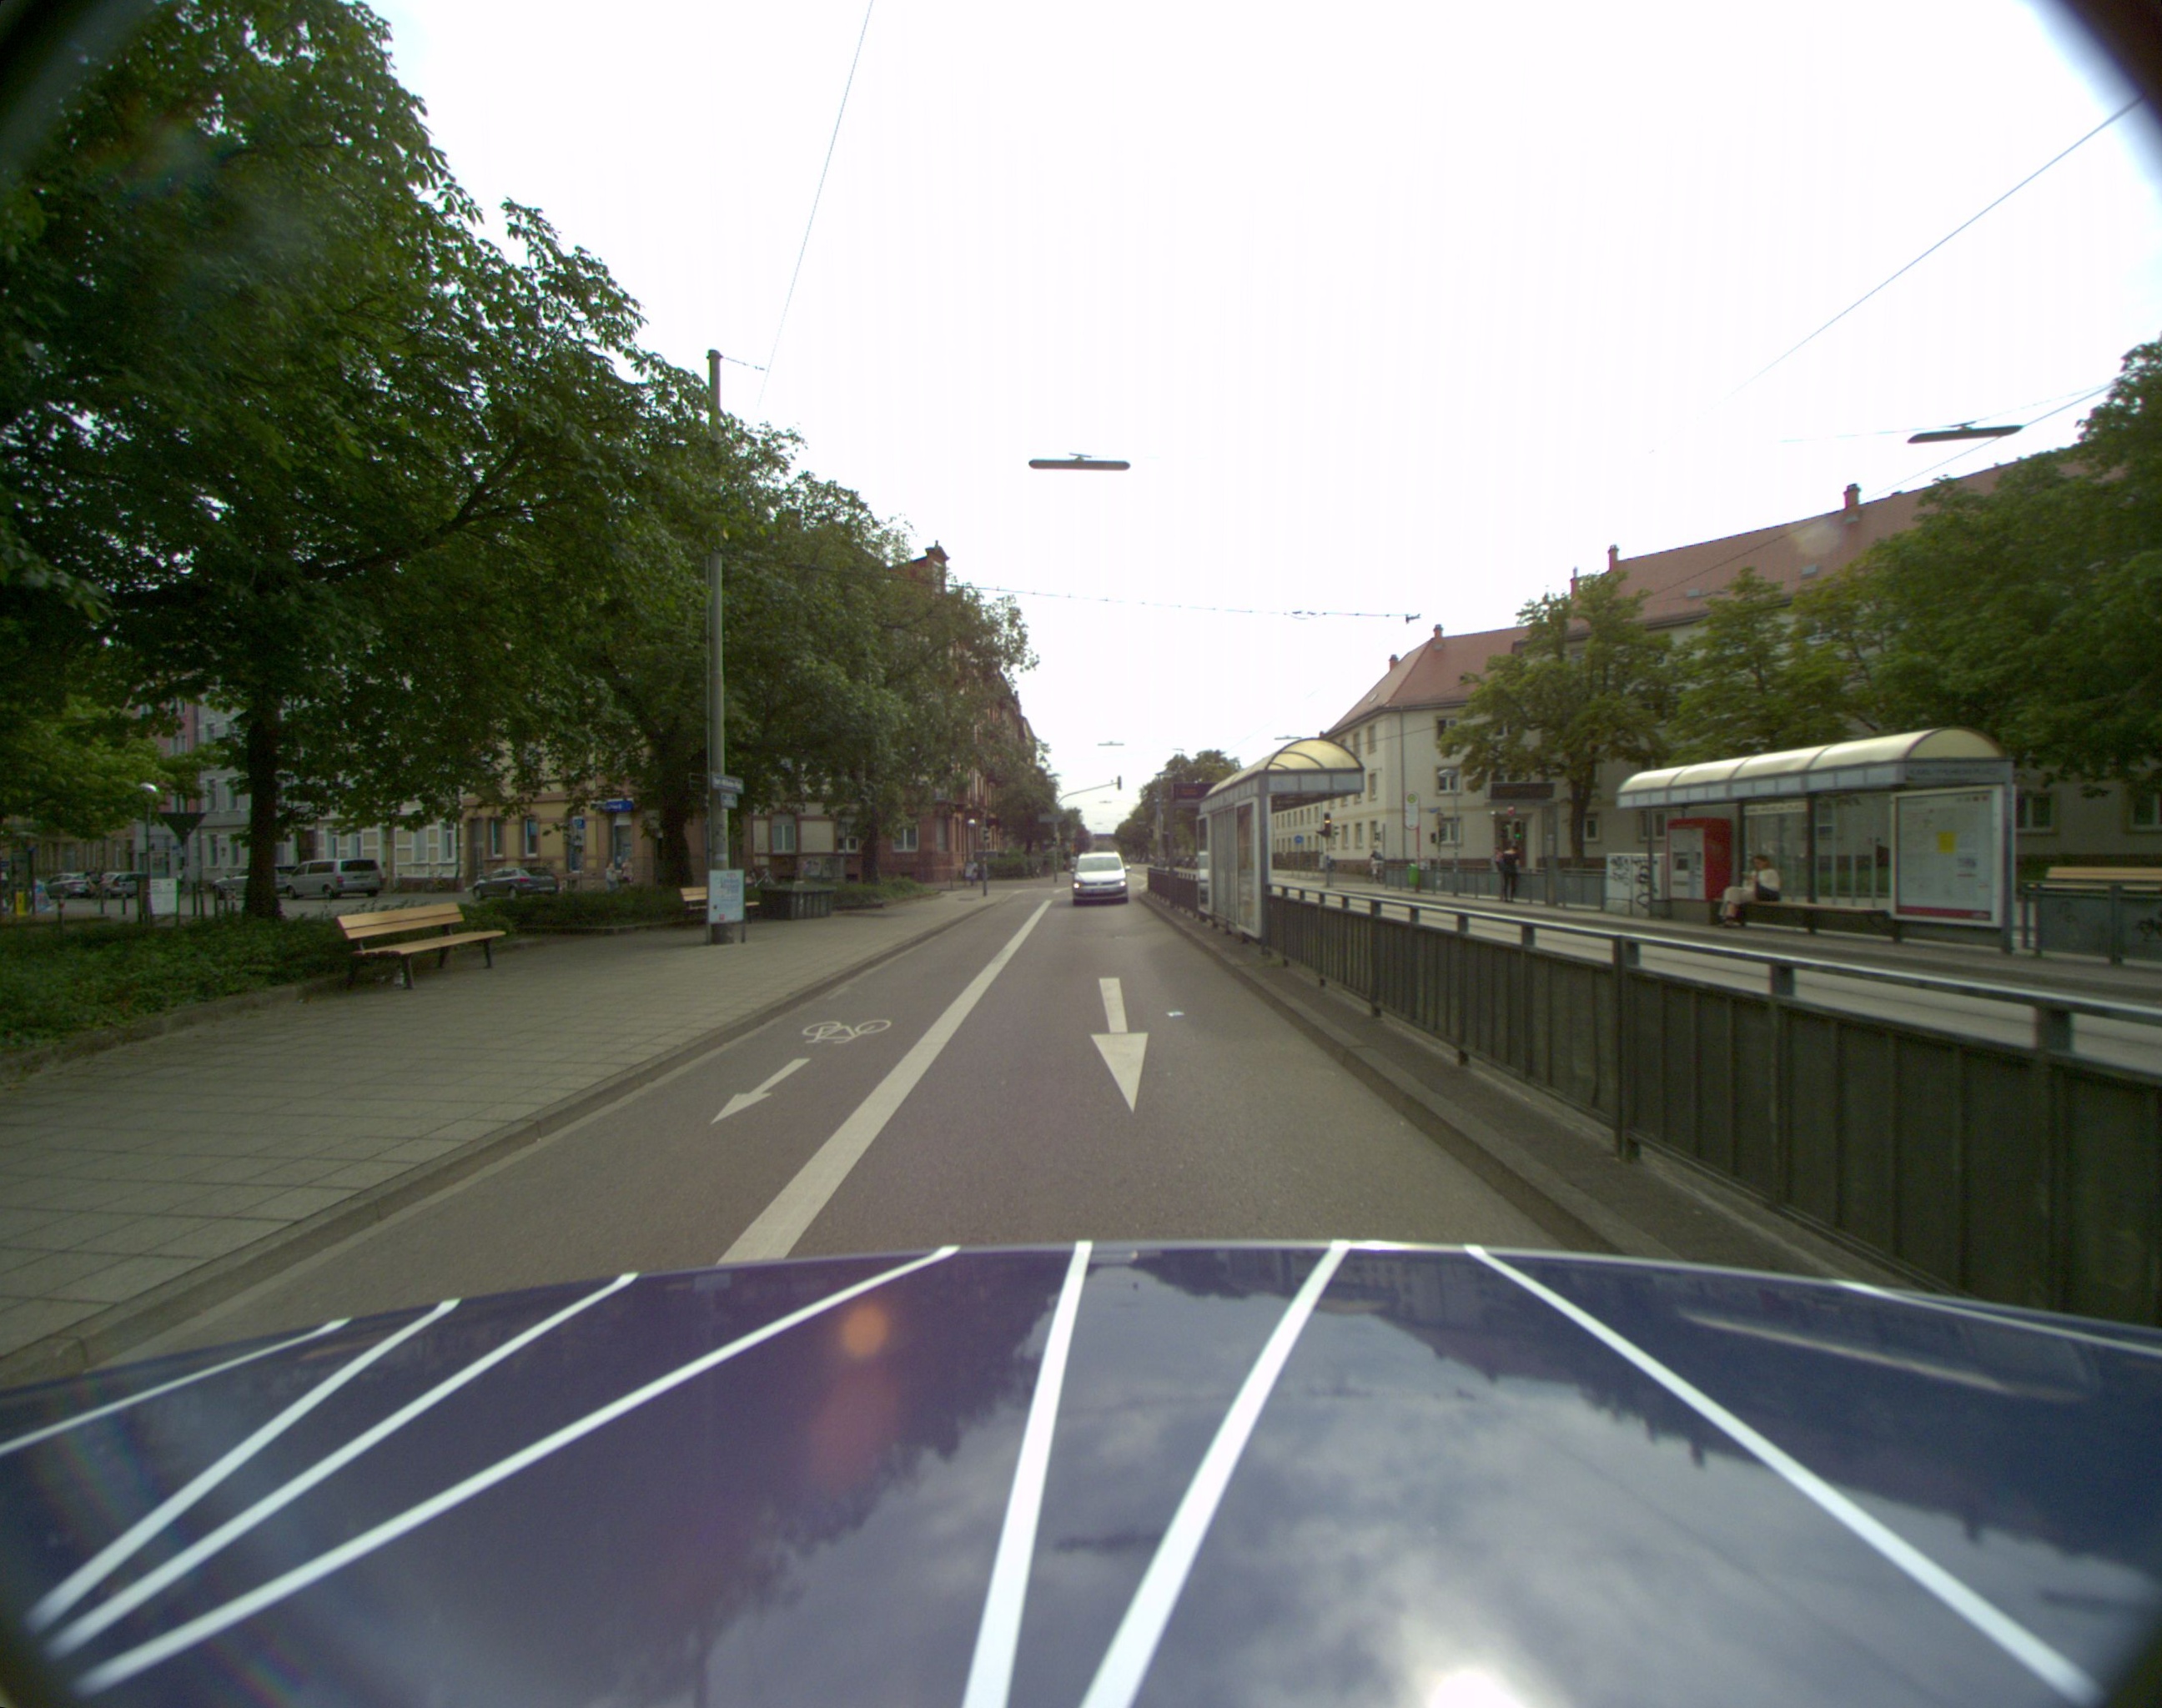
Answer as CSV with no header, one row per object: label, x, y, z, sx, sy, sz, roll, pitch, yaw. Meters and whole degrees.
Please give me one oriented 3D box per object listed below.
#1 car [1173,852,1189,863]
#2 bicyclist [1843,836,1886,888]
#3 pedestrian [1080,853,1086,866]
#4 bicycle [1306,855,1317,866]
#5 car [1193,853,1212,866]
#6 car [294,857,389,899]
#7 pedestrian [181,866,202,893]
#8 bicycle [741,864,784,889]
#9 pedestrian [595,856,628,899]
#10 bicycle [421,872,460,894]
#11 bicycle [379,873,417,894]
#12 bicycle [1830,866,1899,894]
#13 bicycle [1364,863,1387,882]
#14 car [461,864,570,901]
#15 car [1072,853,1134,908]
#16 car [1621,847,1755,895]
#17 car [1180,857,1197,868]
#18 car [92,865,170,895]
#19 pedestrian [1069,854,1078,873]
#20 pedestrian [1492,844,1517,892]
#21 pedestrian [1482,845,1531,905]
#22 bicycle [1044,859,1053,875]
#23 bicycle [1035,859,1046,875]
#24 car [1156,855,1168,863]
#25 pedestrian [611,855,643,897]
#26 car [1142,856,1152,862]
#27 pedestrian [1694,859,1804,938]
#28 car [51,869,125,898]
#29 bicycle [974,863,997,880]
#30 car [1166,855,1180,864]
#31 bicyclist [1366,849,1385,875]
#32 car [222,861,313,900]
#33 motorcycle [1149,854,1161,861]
car,14.958,0.580,114.013,1.790,1.602,4.300,0,0,1
bicyclist,27.365,0.269,26.531,0.613,1.765,0.909,0,0,-27
pedestrian,0.286,0.742,96.827,0.732,1.614,0.835,0,0,0
bicycle,19.939,0.584,65.791,0.479,0.910,1.672,0,0,1
car,15.075,0.674,94.374,1.701,1.415,4.300,-4,0,1
car,-36.685,1.161,37.704,3.990,1.969,1.871,-1,0,22
pedestrian,-56.512,1.610,48.249,0.731,1.743,0.648,0,0,22
bicycle,-14.518,1.011,34.654,1.672,1.137,0.672,0,0,-8
pedestrian,-19.325,0.955,31.285,0.730,1.719,0.895,1,1,33
bicycle,-33.354,1.478,39.571,1.935,1.114,0.674,0,0,19
bicycle,-36.979,1.577,41.123,1.935,1.114,0.674,0,0,19
bicycle,27.362,0.894,26.548,0.609,0.931,1.573,0,0,-27
bicycle,15.395,0.974,39.756,0.662,0.943,1.550,-1,0,1
car,-23.877,1.180,32.086,3.990,1.433,1.821,-1,0,22
car,0.729,0.800,25.635,1.876,1.670,5.131,0,0,2
car,24.758,0.651,31.082,4.146,1.711,1.844,2,3,41
car,14.389,1.105,102.282,1.701,1.415,4.300,-2,0,1
car,-57.508,1.565,46.005,3.990,1.740,1.821,-1,0,22
pedestrian,-0.684,0.866,71.705,0.732,1.743,0.950,0,0,5
pedestrian,16.932,0.568,30.420,0.731,1.889,0.836,0,0,19
pedestrian,11.844,0.570,21.170,0.854,1.611,0.843,-1,1,-4
bicycle,-2.378,0.943,56.019,0.510,1.082,1.550,3,0,1
bicycle,-2.842,0.907,53.304,0.672,1.100,1.672,0,0,1
car,15.112,0.990,142.441,1.701,1.462,4.299,-1,0,-2
pedestrian,-19.282,0.924,32.259,0.891,1.719,0.758,1,0,24
car,15.585,1.113,179.859,1.732,1.462,4.299,0,0,-2
pedestrian,11.572,0.744,13.199,1.061,1.286,0.985,-1,1,-5
car,-62.934,1.830,48.157,3.990,1.740,1.821,-1,0,22
bicycle,-5.829,1.057,46.355,0.509,0.964,1.553,0,0,33
car,14.918,0.900,123.290,1.701,1.462,4.299,0,0,-2
bicyclist,15.393,0.407,39.751,0.662,1.332,0.836,-1,1,1
car,-42.360,1.342,39.579,4.145,1.932,1.821,-1,0,22
motorcycle,15.428,0.743,158.107,2.311,1.382,0.838,-6,1,32
